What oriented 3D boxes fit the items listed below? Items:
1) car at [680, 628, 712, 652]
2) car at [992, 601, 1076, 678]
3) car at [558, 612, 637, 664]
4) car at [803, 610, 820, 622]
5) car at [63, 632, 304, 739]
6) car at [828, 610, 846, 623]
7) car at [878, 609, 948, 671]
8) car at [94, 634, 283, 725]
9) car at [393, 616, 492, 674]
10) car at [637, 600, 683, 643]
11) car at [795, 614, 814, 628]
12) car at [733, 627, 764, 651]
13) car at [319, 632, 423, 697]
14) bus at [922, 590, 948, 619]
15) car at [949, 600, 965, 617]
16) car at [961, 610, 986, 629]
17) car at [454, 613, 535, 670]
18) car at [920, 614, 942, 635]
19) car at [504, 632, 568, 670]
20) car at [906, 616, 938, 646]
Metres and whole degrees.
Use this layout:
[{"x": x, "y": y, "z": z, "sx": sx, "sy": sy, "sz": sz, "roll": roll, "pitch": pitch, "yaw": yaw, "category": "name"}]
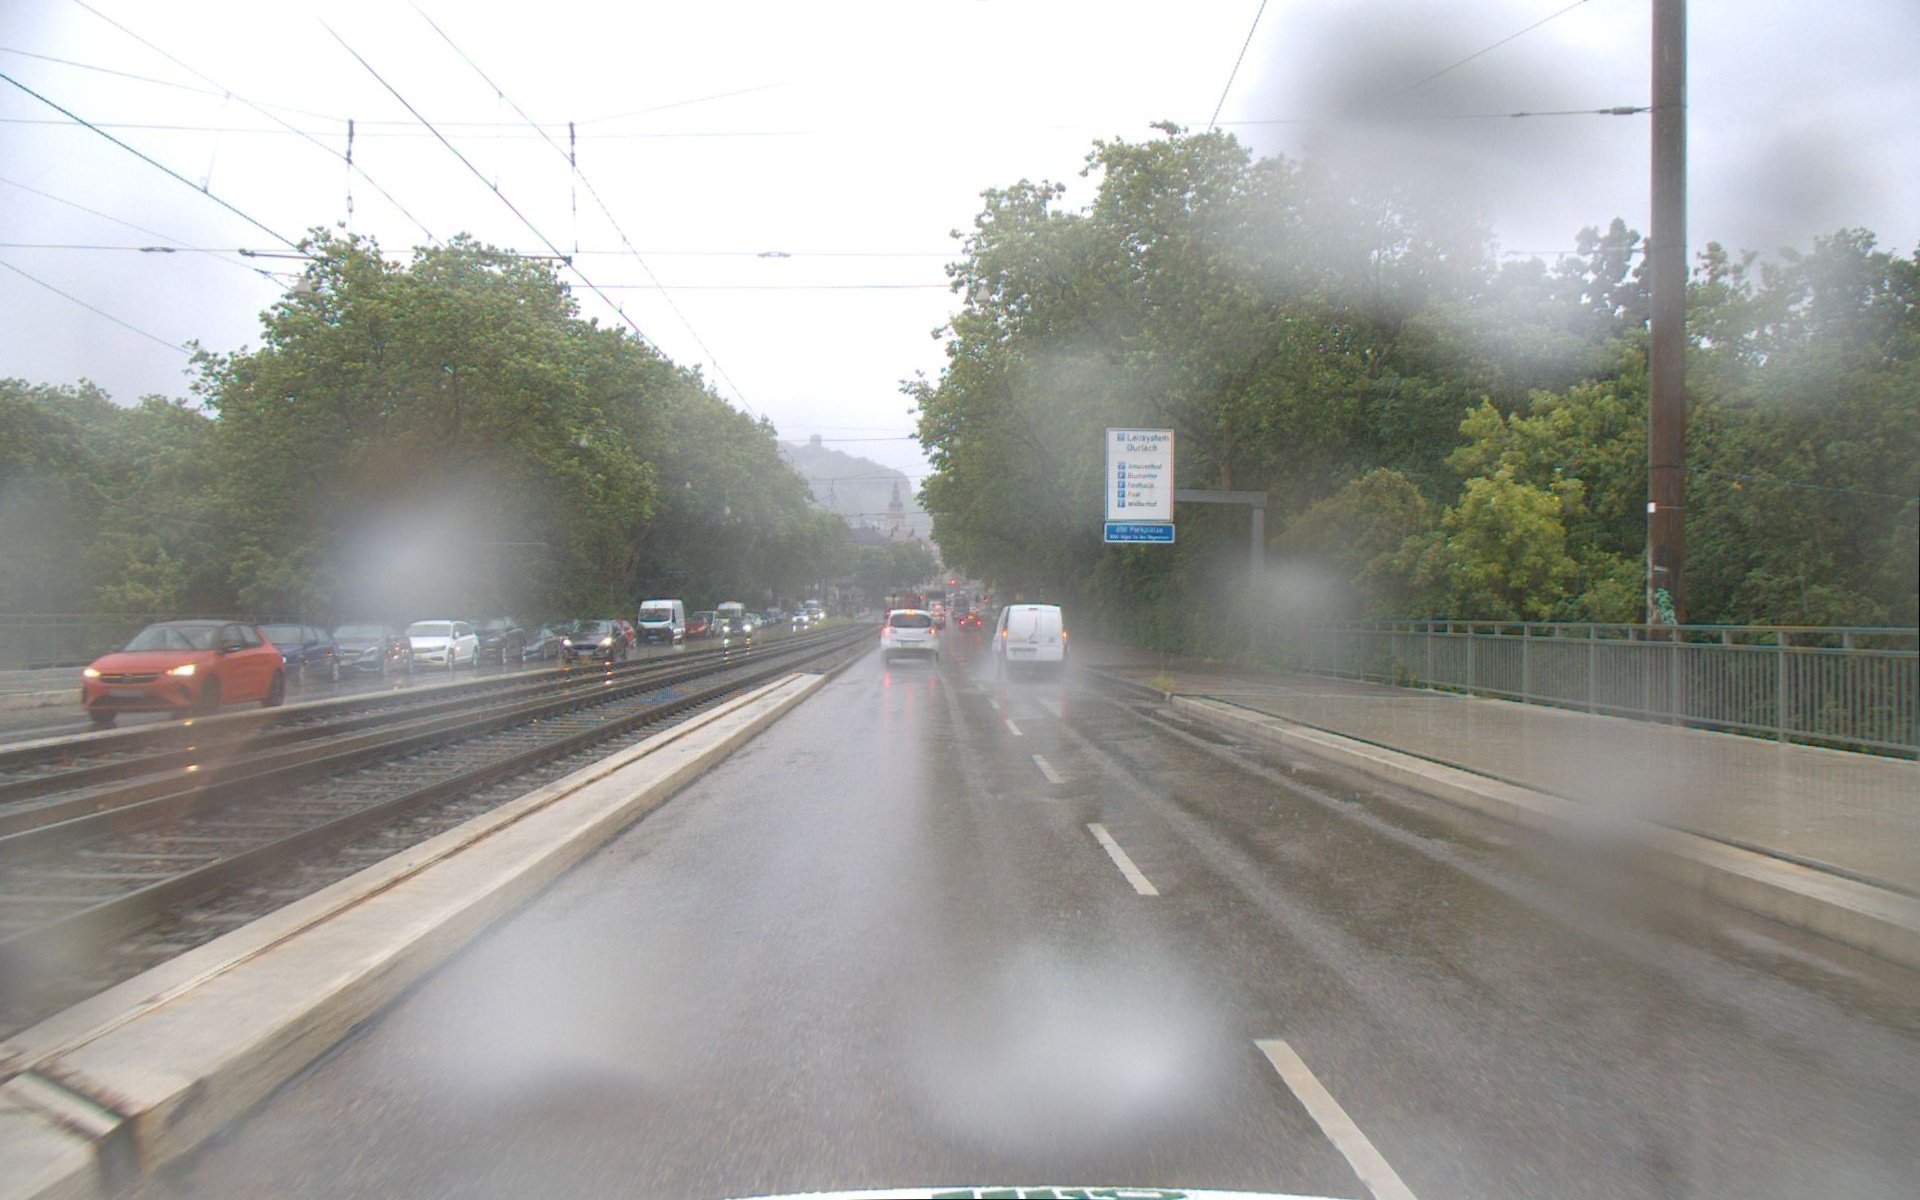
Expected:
[{"x": -17.459, "y": 2.617, "z": 109.574, "sx": 1.475, "sy": 1.373, "sz": 4.026, "roll": -2, "pitch": 1, "yaw": -1, "category": "car"}, {"x": 1.808, "y": 0.941, "z": 41.624, "sx": 1.952, "sy": 1.756, "sz": 4.000, "roll": 1, "pitch": 0, "yaw": 1, "category": "car"}, {"x": -12.344, "y": 1.266, "z": 56.492, "sx": 1.779, "sy": 1.392, "sz": 4.266, "roll": 1, "pitch": 3, "yaw": -1, "category": "car"}, {"x": -18.739, "y": 2.028, "z": 209.255, "sx": 1.768, "sy": 1.373, "sz": 4.263, "roll": -2, "pitch": 1, "yaw": -1, "category": "car"}, {"x": -11.687, "y": 1.240, "z": 25.209, "sx": 1.763, "sy": 1.339, "sz": 4.083, "roll": 1, "pitch": 0, "yaw": -1, "category": "car"}, {"x": -14.276, "y": 1.873, "z": 192.287, "sx": 1.768, "sy": 1.373, "sz": 4.264, "roll": -2, "pitch": 1, "yaw": 0, "category": "car"}, {"x": -1.415, "y": 1.197, "z": 50.930, "sx": 1.952, "sy": 1.747, "sz": 4.000, "roll": 1, "pitch": 0, "yaw": 1, "category": "car"}, {"x": -15.186, "y": 1.518, "z": 32.823, "sx": 1.826, "sy": 1.481, "sz": 4.318, "roll": -2, "pitch": 1, "yaw": -2, "category": "car"}, {"x": -15.408, "y": 1.301, "z": 49.440, "sx": 1.476, "sy": 1.425, "sz": 4.891, "roll": -5, "pitch": 1, "yaw": -2, "category": "car"}, {"x": -16.987, "y": 1.177, "z": 93.835, "sx": 1.706, "sy": 2.207, "sz": 5.811, "roll": -2, "pitch": 1, "yaw": -3, "category": "car"}, {"x": -17.268, "y": 2.286, "z": 184.000, "sx": 1.768, "sy": 1.373, "sz": 4.263, "roll": -2, "pitch": 1, "yaw": -1, "category": "car"}, {"x": -14.100, "y": 2.574, "z": 110.205, "sx": 1.475, "sy": 1.425, "sz": 4.707, "roll": -2, "pitch": 1, "yaw": -1, "category": "car"}, {"x": -15.359, "y": 1.645, "z": 43.317, "sx": 1.477, "sy": 1.425, "sz": 4.403, "roll": -2, "pitch": 1, "yaw": -6, "category": "car"}, {"x": -3.510, "y": 0.593, "z": 234.786, "sx": 3.320, "sy": 3.903, "sz": 9.739, "roll": 1, "pitch": 0, "yaw": 1, "category": "bus"}, {"x": -0.351, "y": 1.033, "z": 201.638, "sx": 1.952, "sy": 1.858, "sz": 4.000, "roll": 1, "pitch": 0, "yaw": 1, "category": "car"}, {"x": 1.068, "y": 1.545, "z": 130.199, "sx": 1.952, "sy": 1.344, "sz": 4.000, "roll": 1, "pitch": 0, "yaw": 1, "category": "car"}, {"x": -15.558, "y": 1.360, "z": 55.498, "sx": 1.476, "sy": 1.701, "sz": 4.831, "roll": -2, "pitch": 1, "yaw": -3, "category": "car"}, {"x": -2.835, "y": 2.326, "z": 160.037, "sx": 1.952, "sy": 1.858, "sz": 4.000, "roll": 1, "pitch": 0, "yaw": 1, "category": "car"}, {"x": -15.801, "y": 1.884, "z": 61.821, "sx": 1.475, "sy": 1.193, "sz": 3.711, "roll": -2, "pitch": 1, "yaw": -1, "category": "car"}, {"x": -2.471, "y": 2.018, "z": 108.570, "sx": 1.952, "sy": 1.858, "sz": 4.000, "roll": 1, "pitch": 0, "yaw": 1, "category": "car"}]
